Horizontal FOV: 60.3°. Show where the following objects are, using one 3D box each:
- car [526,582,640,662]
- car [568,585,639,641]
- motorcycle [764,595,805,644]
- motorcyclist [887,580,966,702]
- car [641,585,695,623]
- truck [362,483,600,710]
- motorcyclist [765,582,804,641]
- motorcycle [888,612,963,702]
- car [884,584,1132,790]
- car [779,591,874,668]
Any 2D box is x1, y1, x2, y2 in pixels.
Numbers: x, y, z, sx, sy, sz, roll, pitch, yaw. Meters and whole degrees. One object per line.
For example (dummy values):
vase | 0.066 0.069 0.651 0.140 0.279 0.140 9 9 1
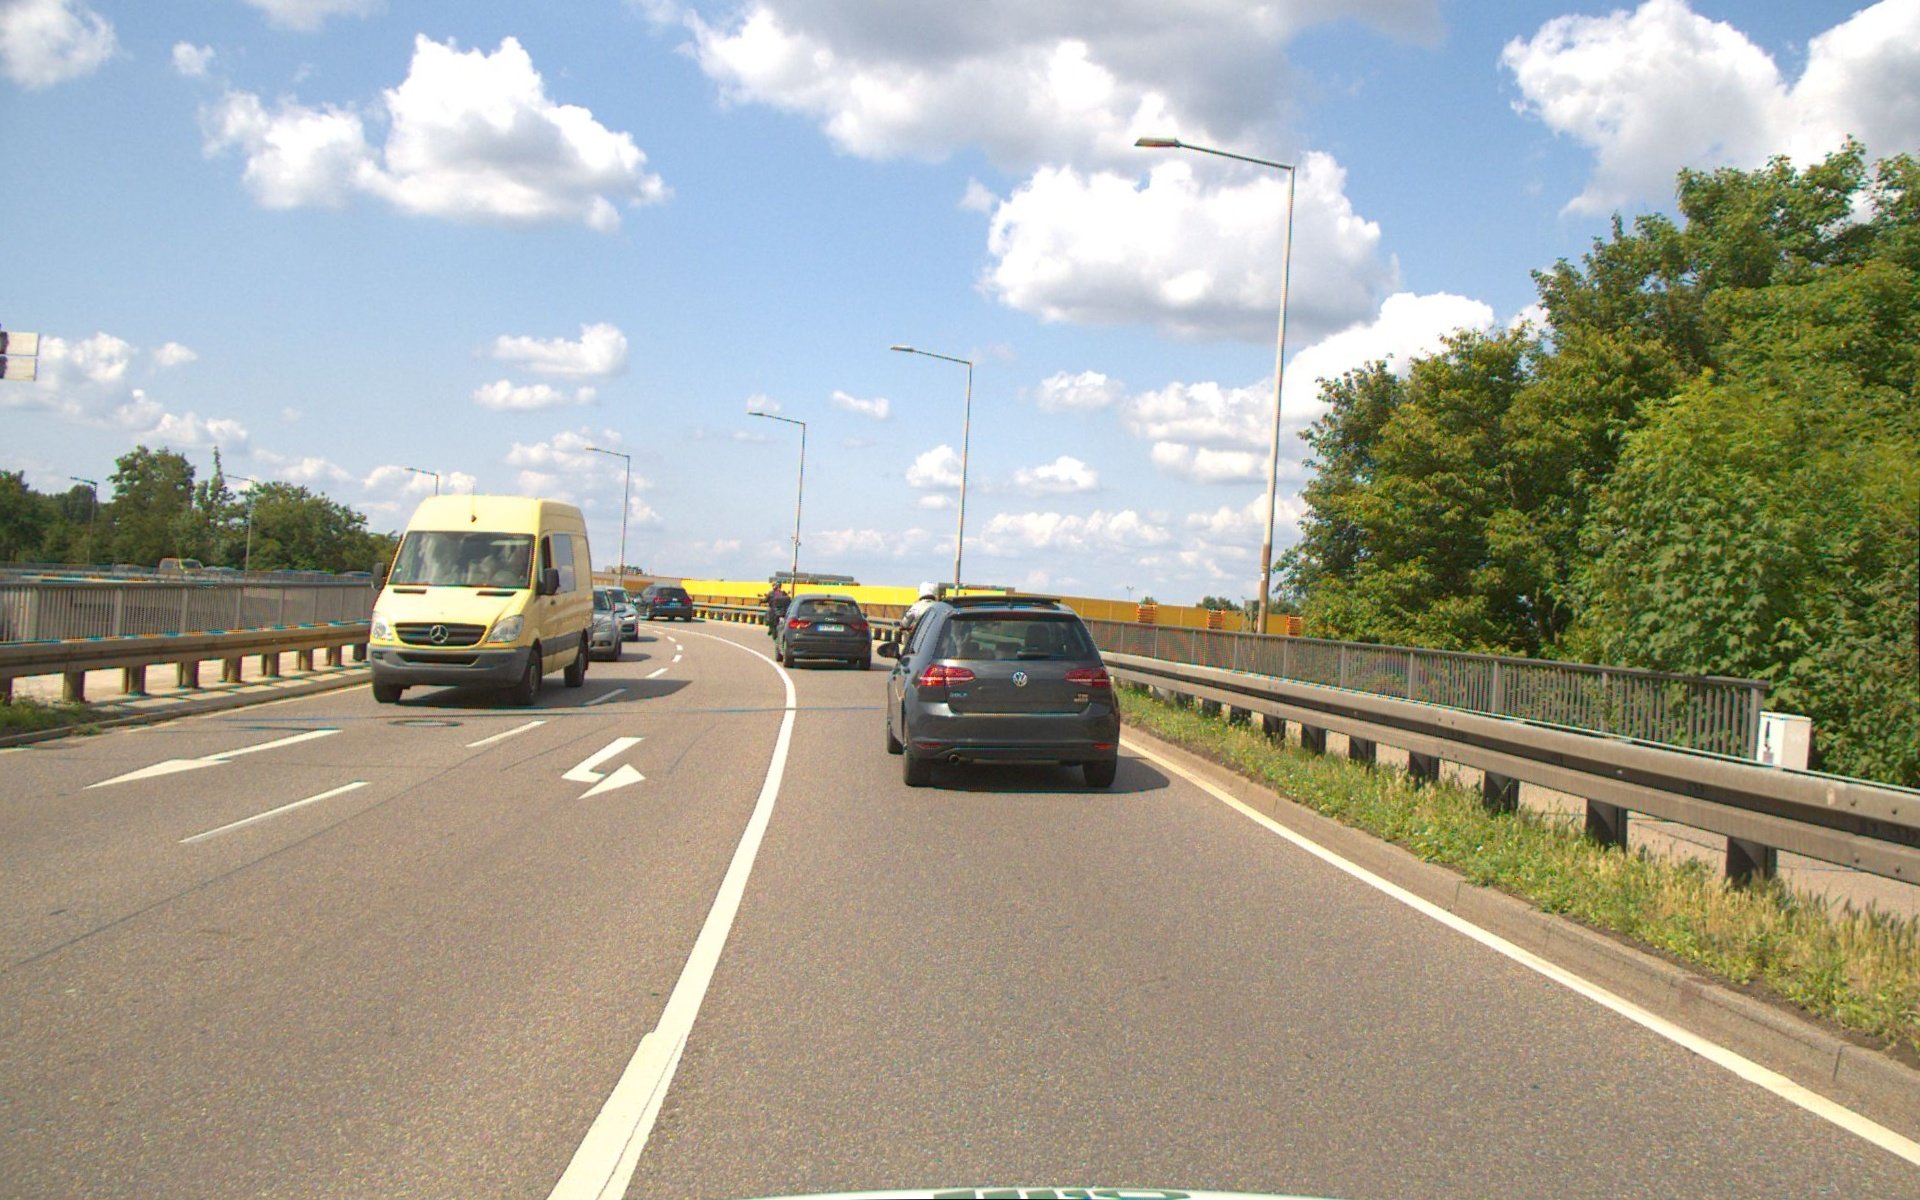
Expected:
car | -7.576 0.417 33.576 1.714 1.474 4.331 1 0 -6
car | -9.700 0.331 45.039 1.763 1.399 4.566 2 0 -12
motorcycle | -4.930 0.529 46.364 0.872 1.269 2.392 2 0 -11
motorcyclist | -0.489 0.567 23.499 0.948 1.648 1.123 2 0 -8
car | -12.239 0.158 69.181 1.617 1.504 3.852 2 0 -18
truck | -6.321 -0.070 22.618 1.954 2.666 6.098 0 1 -5
motorcyclist | -4.934 0.318 46.481 0.949 1.624 1.122 2 0 -12
motorcycle | -0.516 0.783 23.504 0.774 1.151 2.395 2 0 -7
car | 0.280 0.665 14.381 1.611 1.504 3.867 2 0 -6
car | -2.710 0.579 32.913 1.650 1.412 3.732 1 -1 -8
